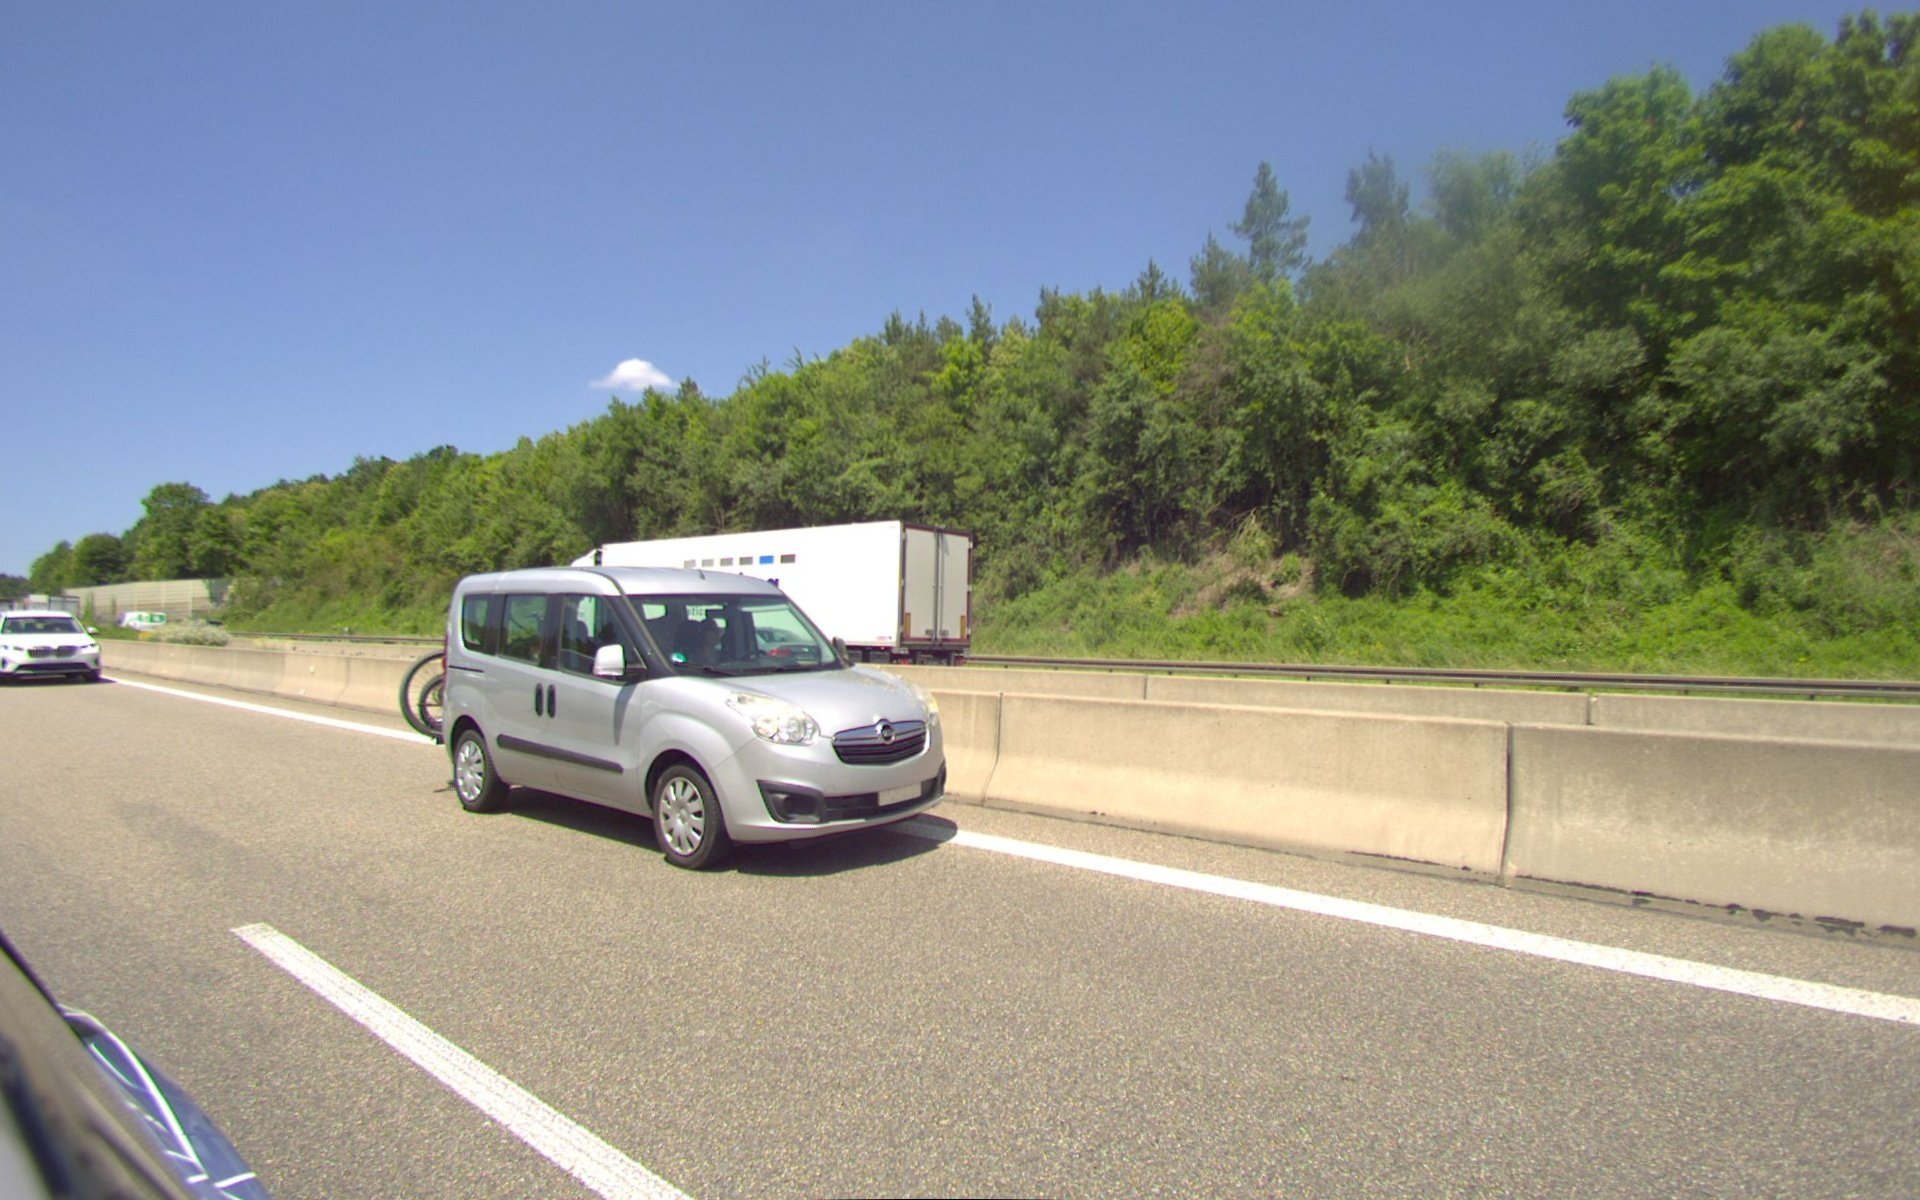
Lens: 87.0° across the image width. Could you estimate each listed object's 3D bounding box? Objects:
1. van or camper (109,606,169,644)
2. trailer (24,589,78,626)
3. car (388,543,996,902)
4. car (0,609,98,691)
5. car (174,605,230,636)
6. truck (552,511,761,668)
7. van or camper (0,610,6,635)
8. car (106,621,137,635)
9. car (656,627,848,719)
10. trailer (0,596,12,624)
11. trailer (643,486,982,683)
[{"bbox_3d":[-53.703,1.606,66.204,4.800,2.403,1.975,-1,-1,37],"label":"van or camper"},{"bbox_3d":[-100.273,0.821,111.563,11.394,3.901,2.966,0,0,41],"label":"trailer"},{"bbox_3d":[-2.218,0.612,7.344,4.915,1.786,1.833,0,0,41],"label":"car"},{"bbox_3d":[-21.668,1.097,23.620,3.998,1.719,1.800,0,0,41],"label":"car"},{"bbox_3d":[-53.321,1.410,71.156,4.473,2.029,2.093,0,0,38],"label":"car"},{"bbox_3d":[-9.946,-0.307,32.708,7.514,4.515,2.919,0,0,41],"label":"truck"},{"bbox_3d":[-112.618,2.577,116.829,6.696,2.898,2.374,0,0,35],"label":"van or camper"},{"bbox_3d":[-84.878,2.832,102.427,4.000,1.344,1.971,-1,-2,43],"label":"car"},{"bbox_3d":[-4.794,1.571,23.031,4.448,1.776,1.973,0,0,40],"label":"car"},{"bbox_3d":[-149.484,1.557,156.436,7.892,4.226,3.399,0,0,41],"label":"trailer"},{"bbox_3d":[-4.480,-0.353,27.942,10.811,4.515,2.919,0,0,41],"label":"trailer"}]
